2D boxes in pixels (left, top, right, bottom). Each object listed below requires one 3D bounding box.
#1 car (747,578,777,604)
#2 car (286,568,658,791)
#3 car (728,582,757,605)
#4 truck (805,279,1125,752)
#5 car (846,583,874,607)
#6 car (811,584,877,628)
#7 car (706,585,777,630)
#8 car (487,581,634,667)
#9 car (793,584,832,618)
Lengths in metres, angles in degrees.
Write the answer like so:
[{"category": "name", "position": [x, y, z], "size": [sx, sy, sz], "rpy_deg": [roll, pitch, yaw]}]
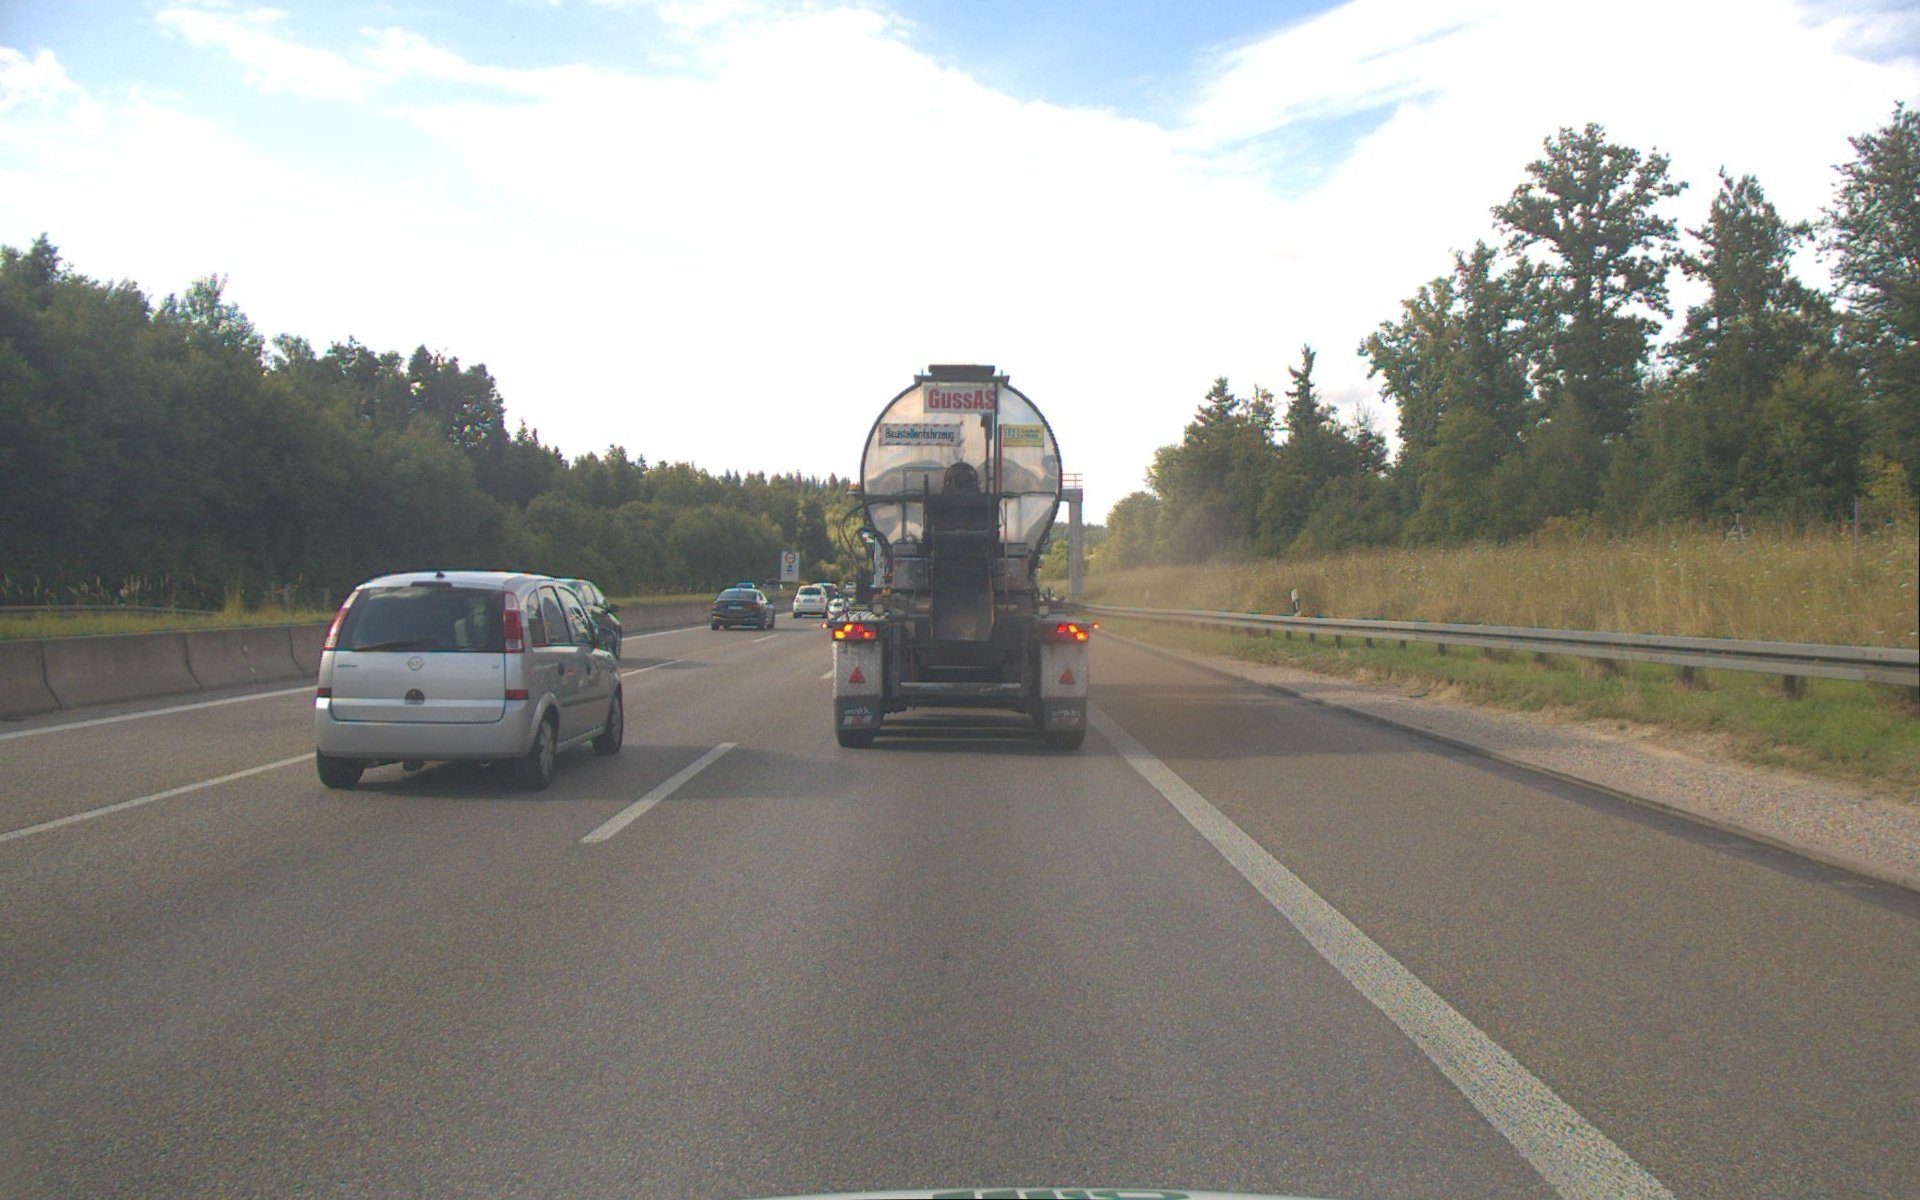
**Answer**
[{"category": "car", "position": [-15.907, -0.744, 132.970], "size": [1.953, 2.049, 4.071], "rpy_deg": [0, 0, -1]}, {"category": "car", "position": [-3.783, 0.538, 13.658], "size": [1.798, 1.544, 4.333], "rpy_deg": [0, 0, 0]}, {"category": "car", "position": [-18.446, -0.552, 140.248], "size": [1.953, 1.914, 4.437], "rpy_deg": [0, 0, -1]}, {"category": "truck", "position": [0.055, -0.804, 20.459], "size": [2.853, 4.230, 11.269], "rpy_deg": [0, 0, 0]}, {"category": "car", "position": [-7.244, -0.389, 119.833], "size": [1.770, 1.613, 4.207], "rpy_deg": [1, 1, -1]}, {"category": "car", "position": [-4.236, 0.188, 61.198], "size": [2.018, 1.525, 5.736], "rpy_deg": [0, 0, 0]}, {"category": "car", "position": [-7.461, 0.229, 56.835], "size": [1.818, 1.456, 4.841], "rpy_deg": [0, 0, 0]}, {"category": "car", "position": [-7.610, 0.413, 31.907], "size": [1.798, 1.544, 4.333], "rpy_deg": [0, 0, 0]}, {"category": "car", "position": [-7.038, 0.051, 79.148], "size": [1.585, 1.571, 3.519], "rpy_deg": [1, 0, -1]}]
